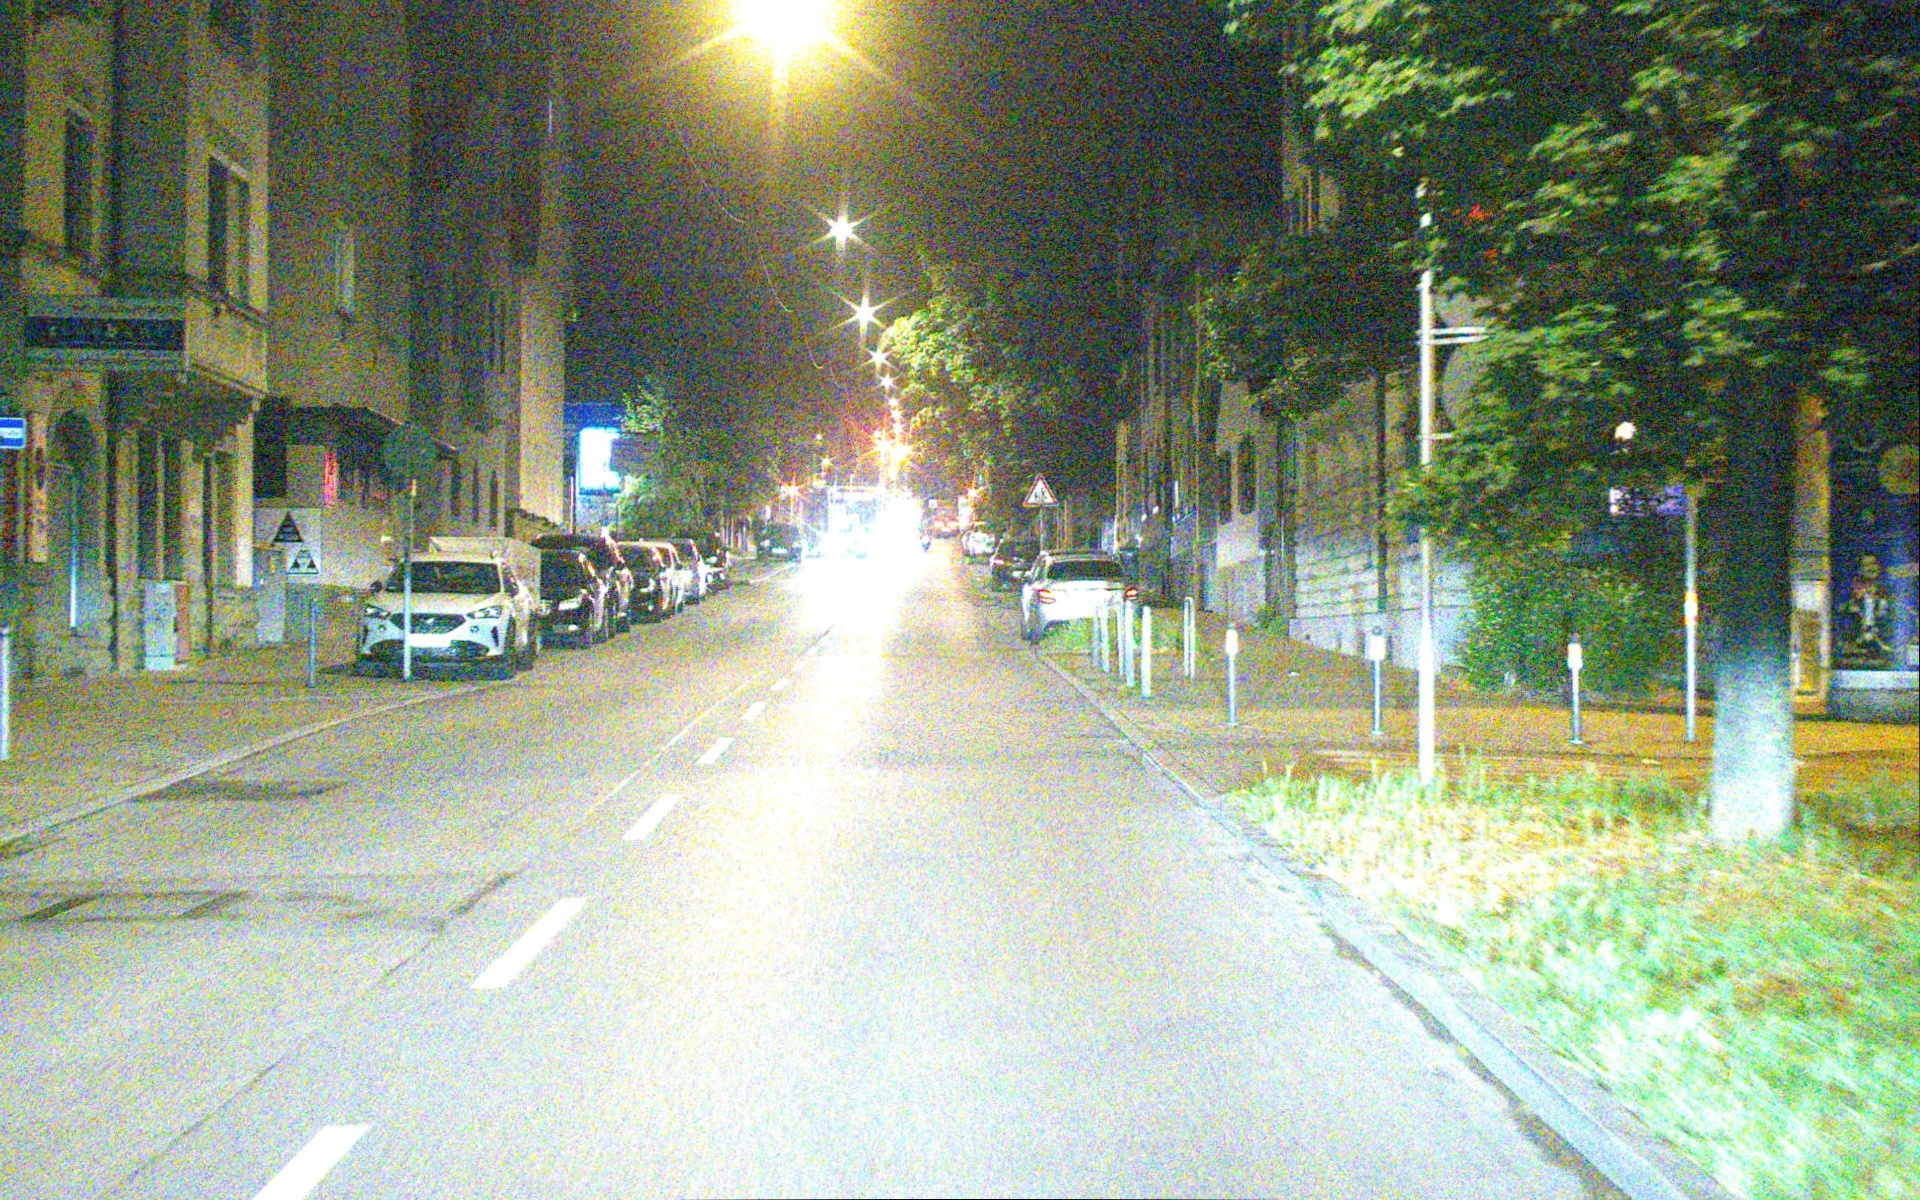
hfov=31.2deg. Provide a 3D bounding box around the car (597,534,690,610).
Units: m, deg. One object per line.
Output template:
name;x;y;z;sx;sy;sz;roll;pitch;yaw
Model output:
car;-6.533;-0.583;71.246;1.621;1.486;3.781;1;1;-1

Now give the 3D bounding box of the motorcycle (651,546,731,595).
motorcycle;-6.528;-0.714;83.229;0.714;1.143;2.208;-2;2;-43

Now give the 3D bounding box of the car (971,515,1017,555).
car;1.419;-2.709;143.075;1.812;1.588;4.274;-1;2;0

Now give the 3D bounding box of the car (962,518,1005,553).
car;1.058;-2.958;156.403;1.868;1.521;4.150;-1;2;0

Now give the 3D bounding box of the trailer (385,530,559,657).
trailer;-6.620;-0.103;46.901;1.638;1.634;3.439;1;1;4

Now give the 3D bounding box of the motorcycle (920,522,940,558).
motorcycle;-1.490;-2.981;170.613;0.931;1.746;2.625;1;1;0

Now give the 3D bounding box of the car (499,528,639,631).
car;-6.564;-0.373;58.106;1.835;1.613;4.545;1;1;0

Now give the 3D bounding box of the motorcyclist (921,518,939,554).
motorcyclist;-1.488;-3.184;170.612;0.848;1.746;0.805;1;0;0

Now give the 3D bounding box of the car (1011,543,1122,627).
car;1.875;-0.291;61.500;1.771;1.443;4.020;0;1;-1

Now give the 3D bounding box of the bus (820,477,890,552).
bus;-4.615;-3.823;152.782;2.837;3.166;10.499;1;2;-1

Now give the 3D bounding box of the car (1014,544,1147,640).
car;1.905;-0.150;55.813;1.845;1.412;4.645;-2;1;-1

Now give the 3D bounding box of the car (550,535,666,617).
car;-6.784;-0.478;66.587;1.863;1.486;4.281;1;1;-1

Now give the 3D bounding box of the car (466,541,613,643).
car;-6.426;-0.151;52.940;1.835;1.442;4.545;0;2;-2

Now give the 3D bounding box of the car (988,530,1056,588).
car;1.675;-1.152;94.247;1.763;1.471;4.081;-1;2;0

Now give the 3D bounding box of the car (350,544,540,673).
car;-6.274;0.066;42.279;1.814;1.479;4.348;1;1;-2

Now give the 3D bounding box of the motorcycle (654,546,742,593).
motorcycle;-6.496;-0.770;85.247;2.206;1.127;0.714;1;2;33

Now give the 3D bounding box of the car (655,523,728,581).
car;-7.074;-1.266;90.727;1.638;1.493;2.765;1;1;1

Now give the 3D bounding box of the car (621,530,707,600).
car;-6.768;-0.824;78.981;1.704;1.486;4.228;-1;2;-1
